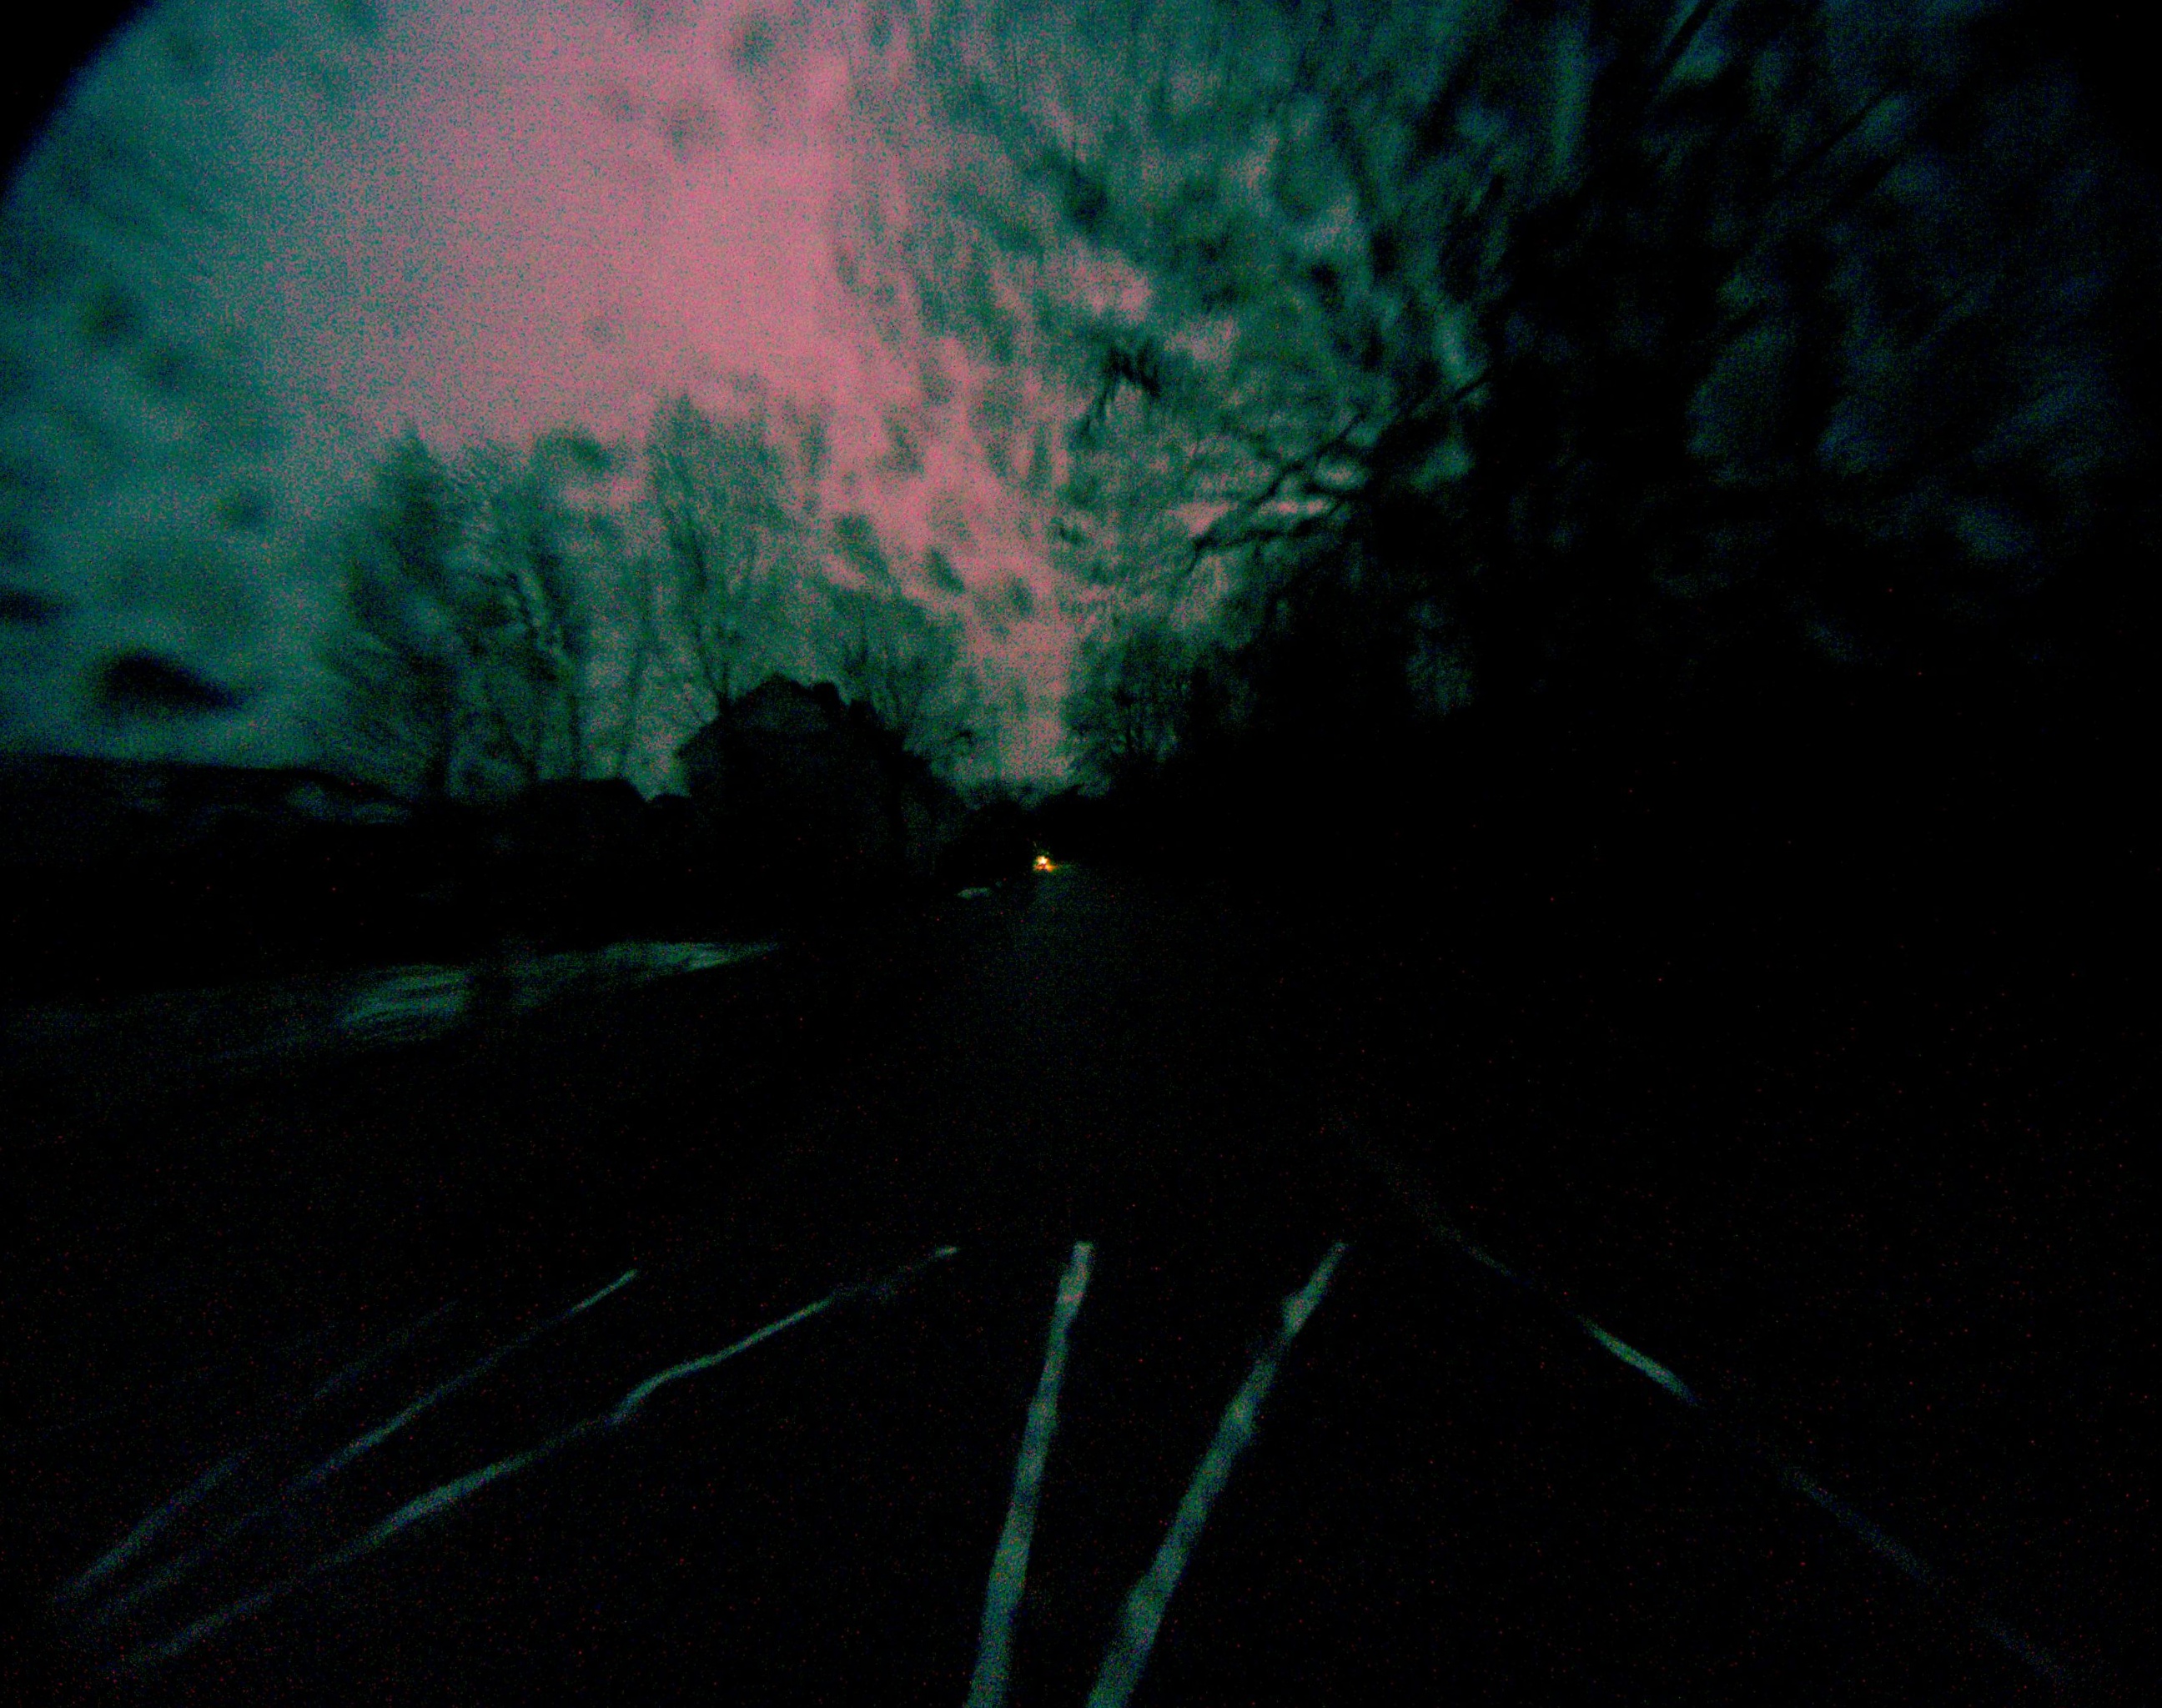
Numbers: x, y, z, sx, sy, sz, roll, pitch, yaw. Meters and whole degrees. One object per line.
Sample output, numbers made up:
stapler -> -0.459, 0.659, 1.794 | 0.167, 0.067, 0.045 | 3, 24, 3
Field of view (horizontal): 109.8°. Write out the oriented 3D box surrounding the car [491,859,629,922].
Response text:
car -> -15.825, 1.051, 23.352 | 1.642, 1.465, 3.736 | -1, 4, -1

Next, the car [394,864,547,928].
car -> -18.497, 1.202, 23.267 | 1.642, 1.465, 3.736 | -1, 4, -1

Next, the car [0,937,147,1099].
car -> -13.519, 1.874, 8.451 | 3.793, 1.587, 1.803 | -1, 0, -4

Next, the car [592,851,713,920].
car -> -13.183, 0.897, 23.651 | 1.642, 1.674, 3.736 | -1, 4, -1

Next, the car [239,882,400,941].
car -> -23.167, 1.695, 23.305 | 1.472, 1.271, 3.396 | -1, 4, -1

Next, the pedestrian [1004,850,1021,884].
pedestrian -> -3.377, 0.629, 37.461 | 0.745, 1.645, 0.970 | -1, 0, -2

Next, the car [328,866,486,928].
car -> -21.225, 1.292, 24.147 | 1.642, 1.465, 3.736 | -1, 4, -1

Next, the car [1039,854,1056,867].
car -> -4.324, 0.809, 97.353 | 1.709, 1.497, 4.021 | -3, 1, -8
